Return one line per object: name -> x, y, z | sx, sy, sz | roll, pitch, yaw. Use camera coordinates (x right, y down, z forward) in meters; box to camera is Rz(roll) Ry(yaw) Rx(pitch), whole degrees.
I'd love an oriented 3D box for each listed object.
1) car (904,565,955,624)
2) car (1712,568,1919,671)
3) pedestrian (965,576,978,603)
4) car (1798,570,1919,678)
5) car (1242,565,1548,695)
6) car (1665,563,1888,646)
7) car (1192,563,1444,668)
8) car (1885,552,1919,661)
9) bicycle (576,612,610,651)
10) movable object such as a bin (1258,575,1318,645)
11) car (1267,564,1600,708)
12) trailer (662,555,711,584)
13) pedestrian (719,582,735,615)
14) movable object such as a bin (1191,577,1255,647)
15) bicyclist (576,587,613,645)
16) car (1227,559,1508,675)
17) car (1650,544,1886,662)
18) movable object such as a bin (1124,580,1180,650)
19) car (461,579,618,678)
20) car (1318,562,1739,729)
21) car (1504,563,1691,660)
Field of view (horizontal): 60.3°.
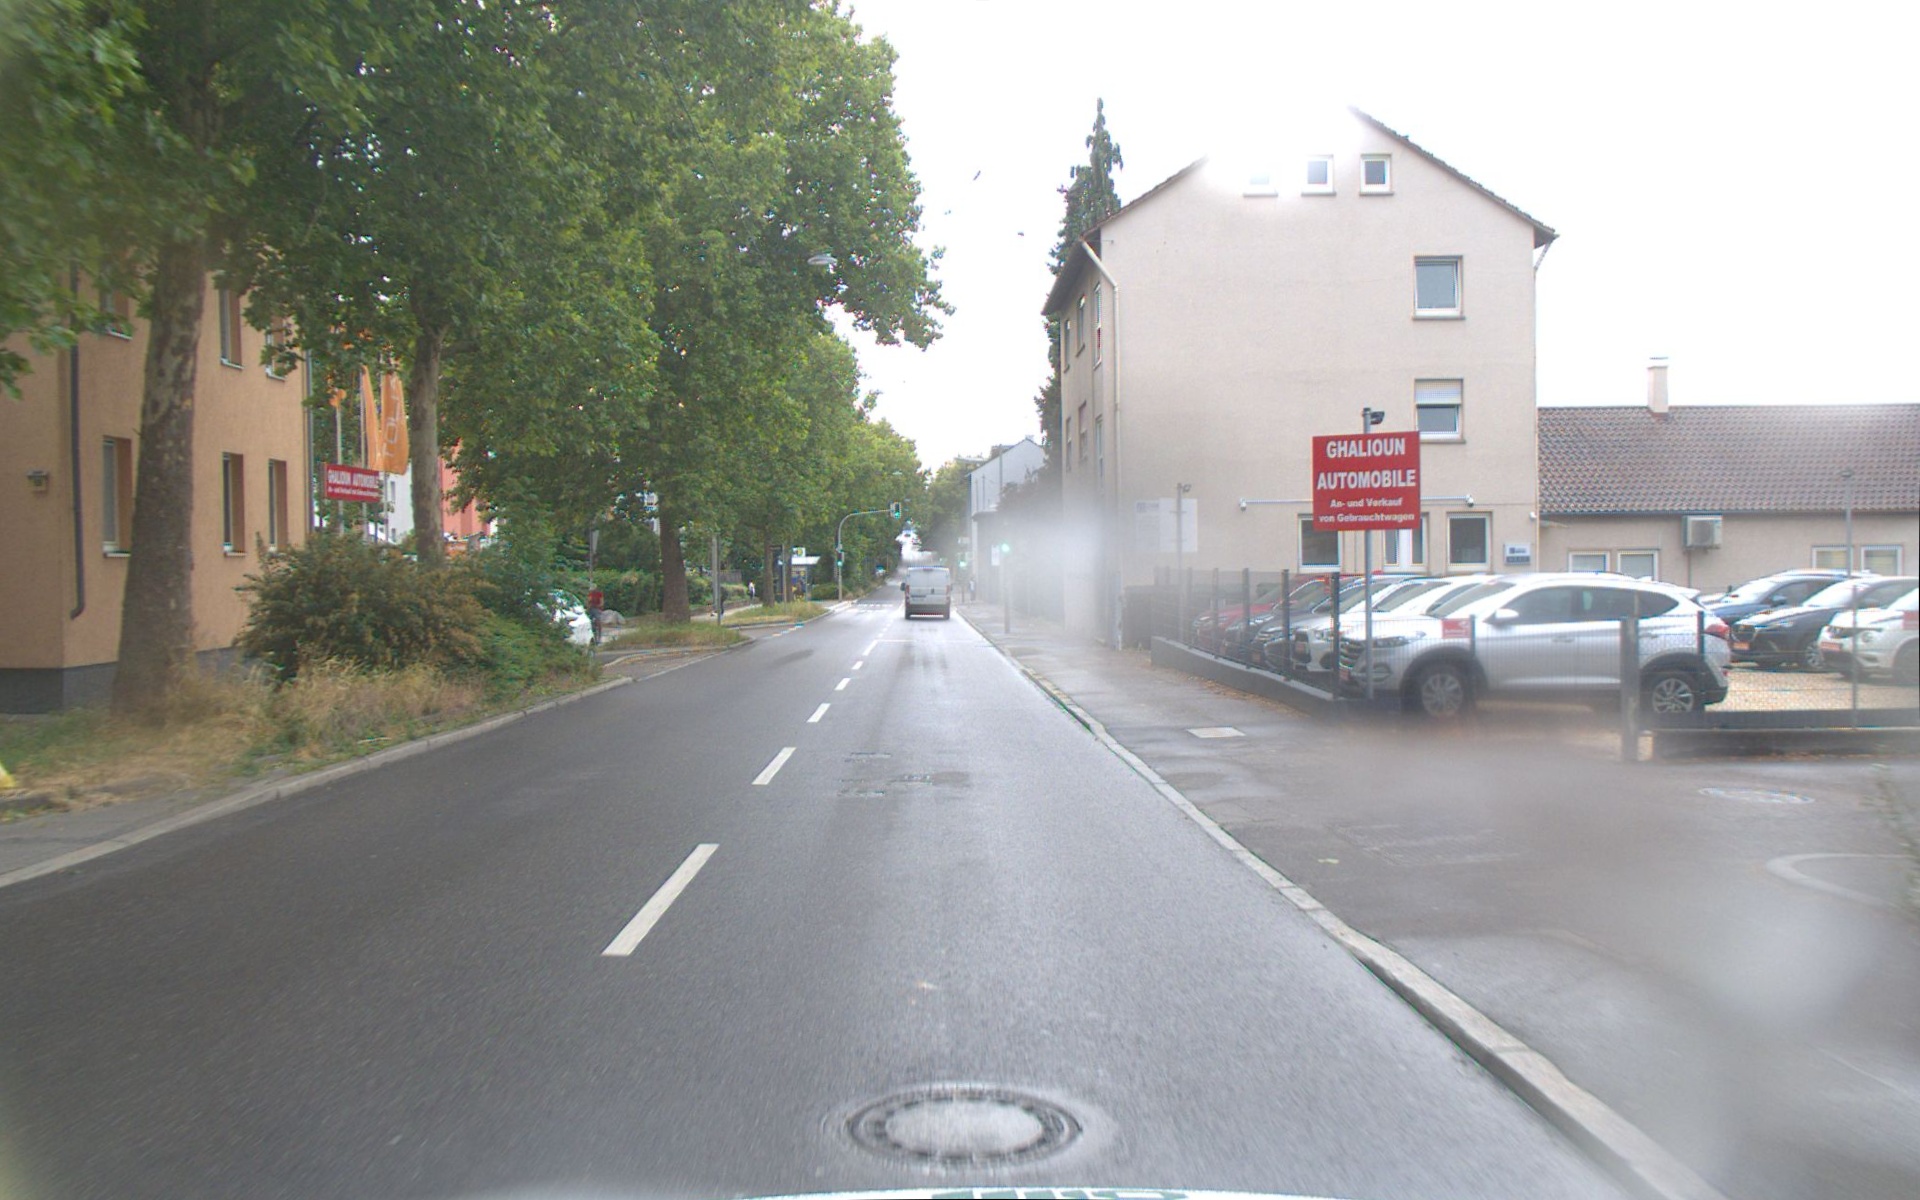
car -> -1.387, -0.212, 74.529 | 2.236, 2.597, 3.999 | 0, -1, -1
car -> 15.125, 0.343, 27.998 | 4.002, 1.628, 1.793 | 1, -1, -3
pedestrian -> 0.751, -0.679, 108.766 | 0.728, 1.734, 0.900 | 1, -1, -7
car -> 15.023, 0.373, 25.148 | 3.690, 1.559, 1.757 | 1, 0, -5
car -> 6.325, 0.431, 24.344 | 3.984, 1.767, 1.869 | 1, -1, -2
car -> 16.934, 0.094, 34.503 | 3.903, 1.621, 1.822 | 1, -1, 16
car -> 6.431, 0.288, 30.035 | 4.143, 1.767, 1.869 | 1, -1, -2
car -> 15.123, 0.121, 22.576 | 3.907, 1.494, 1.999 | 1, -1, -3
bicycle -> -10.020, 0.853, 45.215 | 0.543, 1.013, 2.264 | 1, -1, -3
movable object such as a bin -> 7.558, 0.232, 38.185 | 1.088, 1.536, 1.009 | -2, -1, -2
car -> 6.177, 0.463, 21.860 | 3.869, 1.754, 1.791 | 1, 0, -2
trailer -> -16.211, -1.816, 98.247 | 2.649, 1.674, 1.480 | 1, 0, -1
pedestrian -> -11.662, -0.054, 82.728 | 0.741, 1.639, 0.834 | 1, -1, -6
movable object such as a bin -> 6.043, 0.275, 38.140 | 1.209, 1.536, 1.110 | -2, -1, -2
bicyclist -> -9.999, 0.441, 45.296 | 0.816, 1.580, 0.816 | 1, -1, -3
car -> 6.646, 0.277, 27.273 | 4.143, 1.767, 1.869 | 1, -1, -2
car -> 14.810, 0.065, 30.412 | 3.508, 2.049, 1.723 | 1, -1, -4
movable object such as a bin -> 4.412, 0.346, 38.169 | 1.088, 1.536, 0.986 | -2, -1, -2
car -> -7.195, 0.430, 28.731 | 1.750, 1.578, 4.350 | 0, 1, -2
car -> 6.517, 0.517, 19.292 | 4.215, 1.799, 1.999 | 1, -1, -2
car -> 11.085, 0.210, 29.018 | 1.771, 1.557, 3.626 | 1, -1, -2
